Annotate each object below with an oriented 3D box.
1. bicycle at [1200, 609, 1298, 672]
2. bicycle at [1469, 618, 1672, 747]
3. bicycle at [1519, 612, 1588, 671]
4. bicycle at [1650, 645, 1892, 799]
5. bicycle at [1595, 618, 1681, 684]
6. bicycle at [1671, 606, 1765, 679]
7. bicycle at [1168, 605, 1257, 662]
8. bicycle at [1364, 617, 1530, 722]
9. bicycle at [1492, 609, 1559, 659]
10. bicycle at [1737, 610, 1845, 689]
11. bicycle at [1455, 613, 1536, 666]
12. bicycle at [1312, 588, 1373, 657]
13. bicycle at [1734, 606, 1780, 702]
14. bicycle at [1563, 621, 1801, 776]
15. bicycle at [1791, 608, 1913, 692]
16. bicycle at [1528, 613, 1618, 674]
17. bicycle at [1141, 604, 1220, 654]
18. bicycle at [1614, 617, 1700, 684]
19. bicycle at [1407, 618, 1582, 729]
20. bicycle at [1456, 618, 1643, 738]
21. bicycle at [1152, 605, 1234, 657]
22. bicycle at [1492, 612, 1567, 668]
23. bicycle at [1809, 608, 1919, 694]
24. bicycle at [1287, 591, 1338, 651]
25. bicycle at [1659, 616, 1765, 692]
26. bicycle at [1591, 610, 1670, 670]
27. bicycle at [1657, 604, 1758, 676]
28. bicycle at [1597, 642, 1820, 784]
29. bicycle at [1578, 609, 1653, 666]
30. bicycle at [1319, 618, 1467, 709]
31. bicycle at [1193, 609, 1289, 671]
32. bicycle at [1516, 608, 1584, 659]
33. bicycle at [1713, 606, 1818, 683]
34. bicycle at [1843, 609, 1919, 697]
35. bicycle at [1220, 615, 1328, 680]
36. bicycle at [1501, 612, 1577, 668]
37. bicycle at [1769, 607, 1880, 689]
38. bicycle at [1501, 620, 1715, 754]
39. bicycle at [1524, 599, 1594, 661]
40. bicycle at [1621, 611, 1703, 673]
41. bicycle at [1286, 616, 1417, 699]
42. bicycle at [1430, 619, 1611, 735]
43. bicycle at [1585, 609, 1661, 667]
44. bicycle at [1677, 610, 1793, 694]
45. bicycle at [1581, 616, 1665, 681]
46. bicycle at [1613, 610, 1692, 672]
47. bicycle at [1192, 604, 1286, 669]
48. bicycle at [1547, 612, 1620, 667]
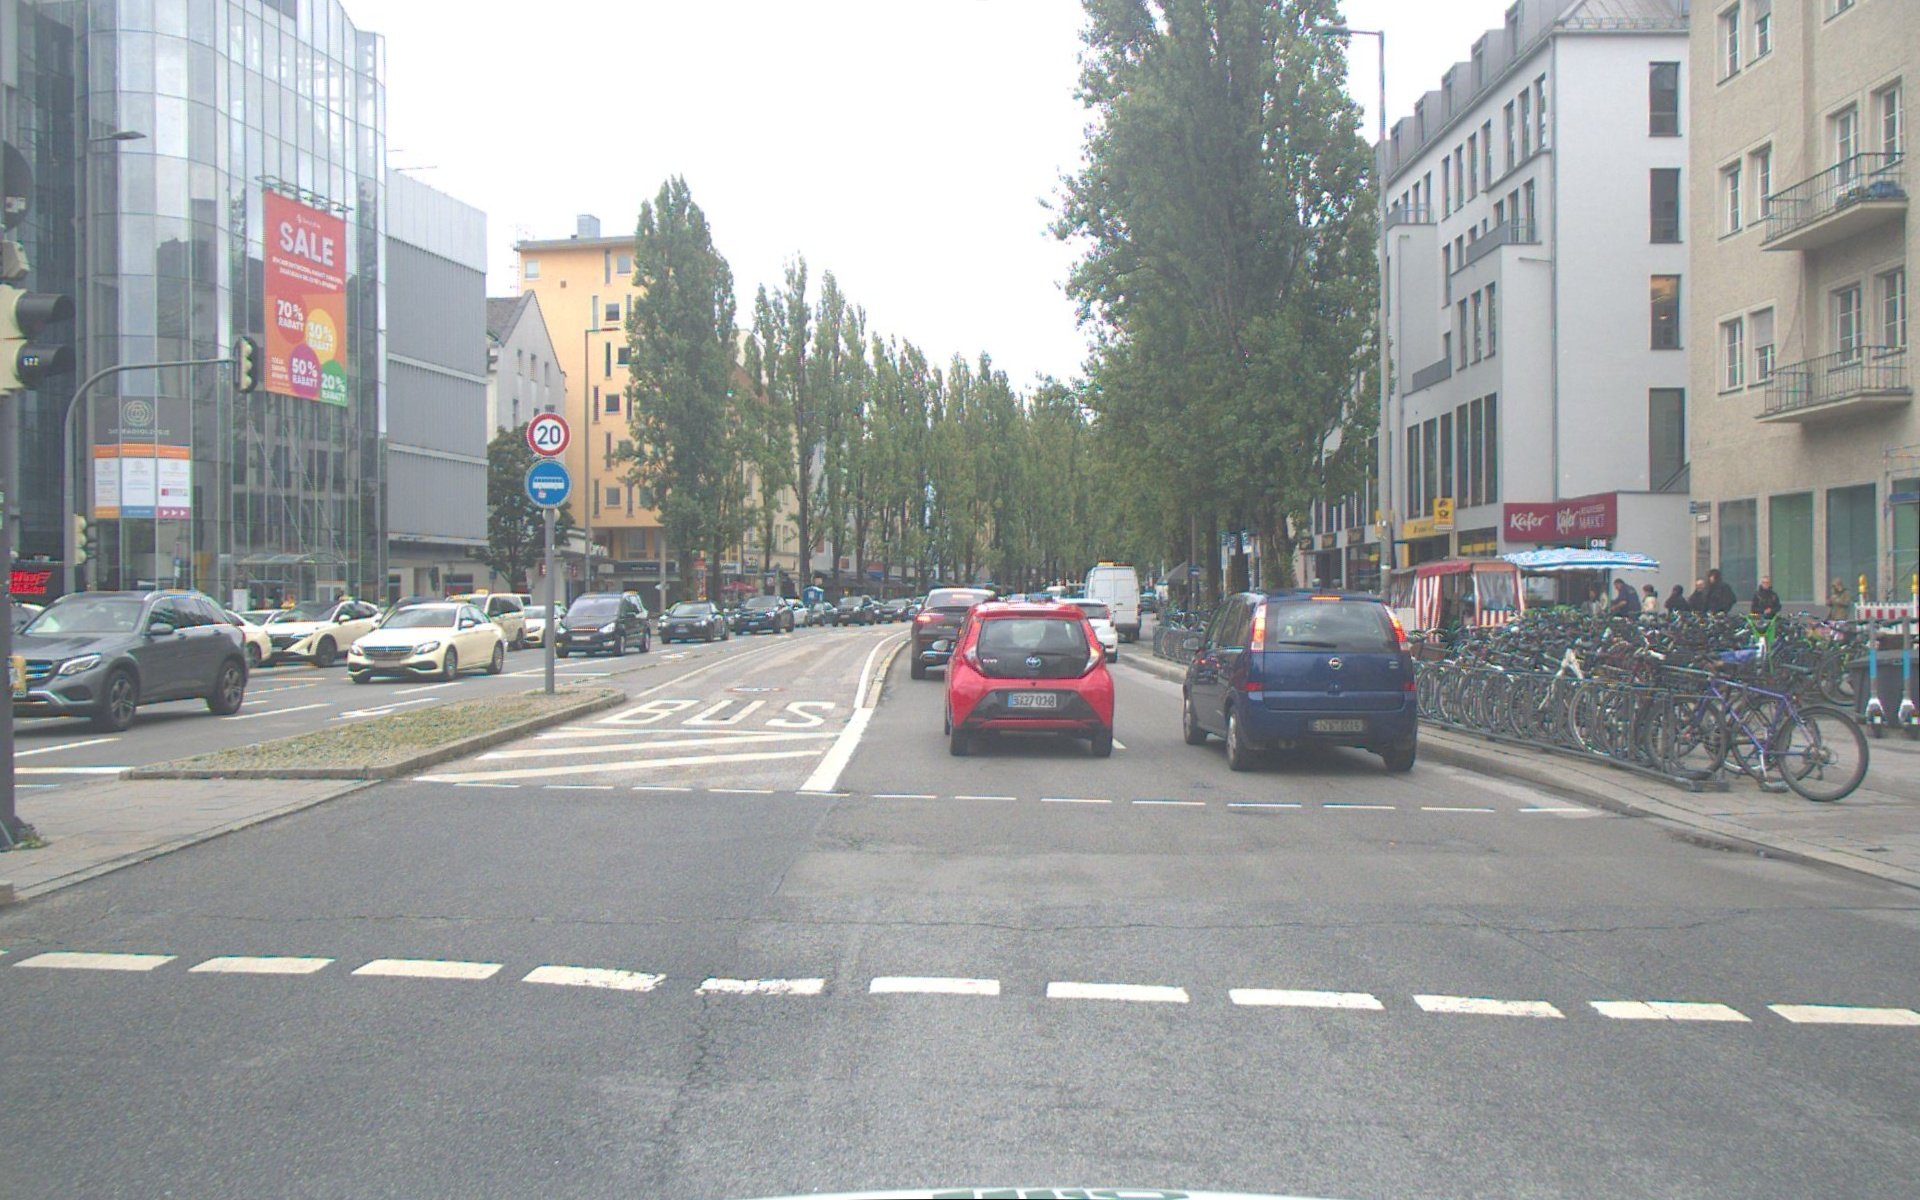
[{"bbox_3d":[5.479,0.762,31.424,1.805,1.156,0.583,0,0,42],"label":"bicycle"},{"bbox_3d":[5.929,0.776,16.112,1.769,1.178,0.546,0,0,38],"label":"bicycle"},{"bbox_3d":[10.377,0.722,28.912,1.208,0.980,0.367,-1,0,-23],"label":"bicycle"},{"bbox_3d":[6.111,0.889,12.523,0.495,1.046,1.576,-1,0,-42],"label":"bicycle"},{"bbox_3d":[10.382,0.773,25.349,1.156,0.980,0.369,-1,0,3],"label":"bicycle"},{"bbox_3d":[11.662,0.650,25.445,1.303,1.094,0.369,-1,0,-7],"label":"bicycle"},{"bbox_3d":[5.354,0.701,35.110,1.801,1.156,0.584,0,0,36],"label":"bicycle"},{"bbox_3d":[5.763,0.796,19.612,1.768,1.178,0.650,0,0,35],"label":"bicycle"},{"bbox_3d":[11.384,0.683,33.283,1.219,0.980,0.369,-1,0,-3],"label":"bicycle"},{"bbox_3d":[11.927,0.705,23.741,1.399,1.094,0.369,-1,0,-7],"label":"bicycle"},{"bbox_3d":[10.254,0.758,31.687,1.401,0.980,0.369,-1,0,5],"label":"bicycle"},{"bbox_3d":[7.529,0.414,32.642,0.601,1.287,2.519,-1,0,0],"label":"bicycle"},{"bbox_3d":[10.278,0.670,21.309,0.361,1.161,1.719,-1,0,31],"label":"bicycle"},{"bbox_3d":[6.098,0.798,14.039,1.773,1.219,0.555,0,0,43],"label":"bicycle"},{"bbox_3d":[12.093,0.677,22.435,1.520,1.094,0.369,-1,0,-7],"label":"bicycle"},{"bbox_3d":[10.259,0.728,27.691,1.375,0.980,0.369,-1,0,-6],"label":"bicycle"},{"bbox_3d":[5.226,0.687,39.305,1.801,1.156,0.584,0,0,36],"label":"bicycle"},{"bbox_3d":[10.398,0.754,24.699,1.110,0.980,0.369,-1,0,5],"label":"bicycle"},{"bbox_3d":[5.884,0.791,18.237,1.765,1.178,0.486,0,0,30],"label":"bicycle"},{"bbox_3d":[6.023,0.777,16.923,1.763,1.178,0.486,-1,0,26],"label":"bicycle"},{"bbox_3d":[5.328,0.693,37.839,1.801,1.156,0.584,0,0,36],"label":"bicycle"},{"bbox_3d":[10.390,0.724,30.200,1.235,0.980,0.369,-1,0,2],"label":"bicycle"},{"bbox_3d":[12.114,0.669,21.906,1.520,1.094,0.451,-1,0,-5],"label":"bicycle"},{"bbox_3d":[7.978,0.452,37.547,0.601,1.287,2.519,-1,0,0],"label":"bicycle"},{"bbox_3d":[10.389,0.740,22.872,1.287,1.017,0.369,-1,0,0],"label":"bicycle"},{"bbox_3d":[11.589,0.686,28.584,1.219,0.998,0.369,-1,0,-4],"label":"bicycle"},{"bbox_3d":[11.811,0.626,26.133,1.472,1.094,0.369,-1,0,-7],"label":"bicycle"},{"bbox_3d":[6.027,0.883,13.378,0.495,1.046,1.576,-1,0,-42],"label":"bicycle"},{"bbox_3d":[11.769,0.669,29.706,1.221,0.998,0.368,-1,0,-10],"label":"bicycle"},{"bbox_3d":[5.665,0.811,21.673,1.769,1.130,0.649,0,0,37],"label":"bicycle"},{"bbox_3d":[5.453,0.766,32.185,1.805,1.156,0.583,0,0,42],"label":"bicycle"},{"bbox_3d":[11.689,0.668,32.775,1.219,0.980,0.369,-1,0,-3],"label":"bicycle"},{"bbox_3d":[11.845,0.646,24.333,1.399,1.094,0.369,-1,0,-7],"label":"bicycle"},{"bbox_3d":[12.250,0.674,21.278,1.518,1.094,0.451,-1,0,1],"label":"bicycle"},{"bbox_3d":[5.427,0.812,28.691,1.805,1.070,0.583,0,0,42],"label":"bicycle"},{"bbox_3d":[10.400,0.710,29.717,1.234,0.980,0.369,-1,0,9],"label":"bicycle"},{"bbox_3d":[11.998,0.663,22.953,1.399,1.094,0.369,-1,0,-7],"label":"bicycle"},{"bbox_3d":[6.025,0.780,15.431,1.769,1.178,0.546,0,0,38],"label":"bicycle"},{"bbox_3d":[11.617,0.578,32.072,1.219,1.160,0.369,-1,0,-3],"label":"bicycle"},{"bbox_3d":[11.620,0.689,27.367,1.220,0.998,0.369,-1,0,-7],"label":"bicycle"},{"bbox_3d":[5.605,0.806,23.748,1.772,1.130,0.559,0,0,41],"label":"bicycle"},{"bbox_3d":[5.949,0.796,17.583,1.765,1.178,0.486,0,0,29],"label":"bicycle"},{"bbox_3d":[11.704,0.668,29.204,1.221,0.998,0.368,-1,0,-10],"label":"bicycle"},{"bbox_3d":[10.475,0.699,22.367,1.389,1.096,0.369,-1,0,0],"label":"bicycle"},{"bbox_3d":[10.371,0.752,25.892,1.157,0.980,0.369,-1,0,-3],"label":"bicycle"},{"bbox_3d":[11.697,0.689,27.936,1.221,0.998,0.368,-1,0,-10],"label":"bicycle"},{"bbox_3d":[5.535,0.713,32.853,1.805,1.263,0.583,0,0,42],"label":"bicycle"},{"bbox_3d":[11.637,0.733,30.883,1.219,0.998,0.369,-1,0,-3],"label":"bicycle"}]
